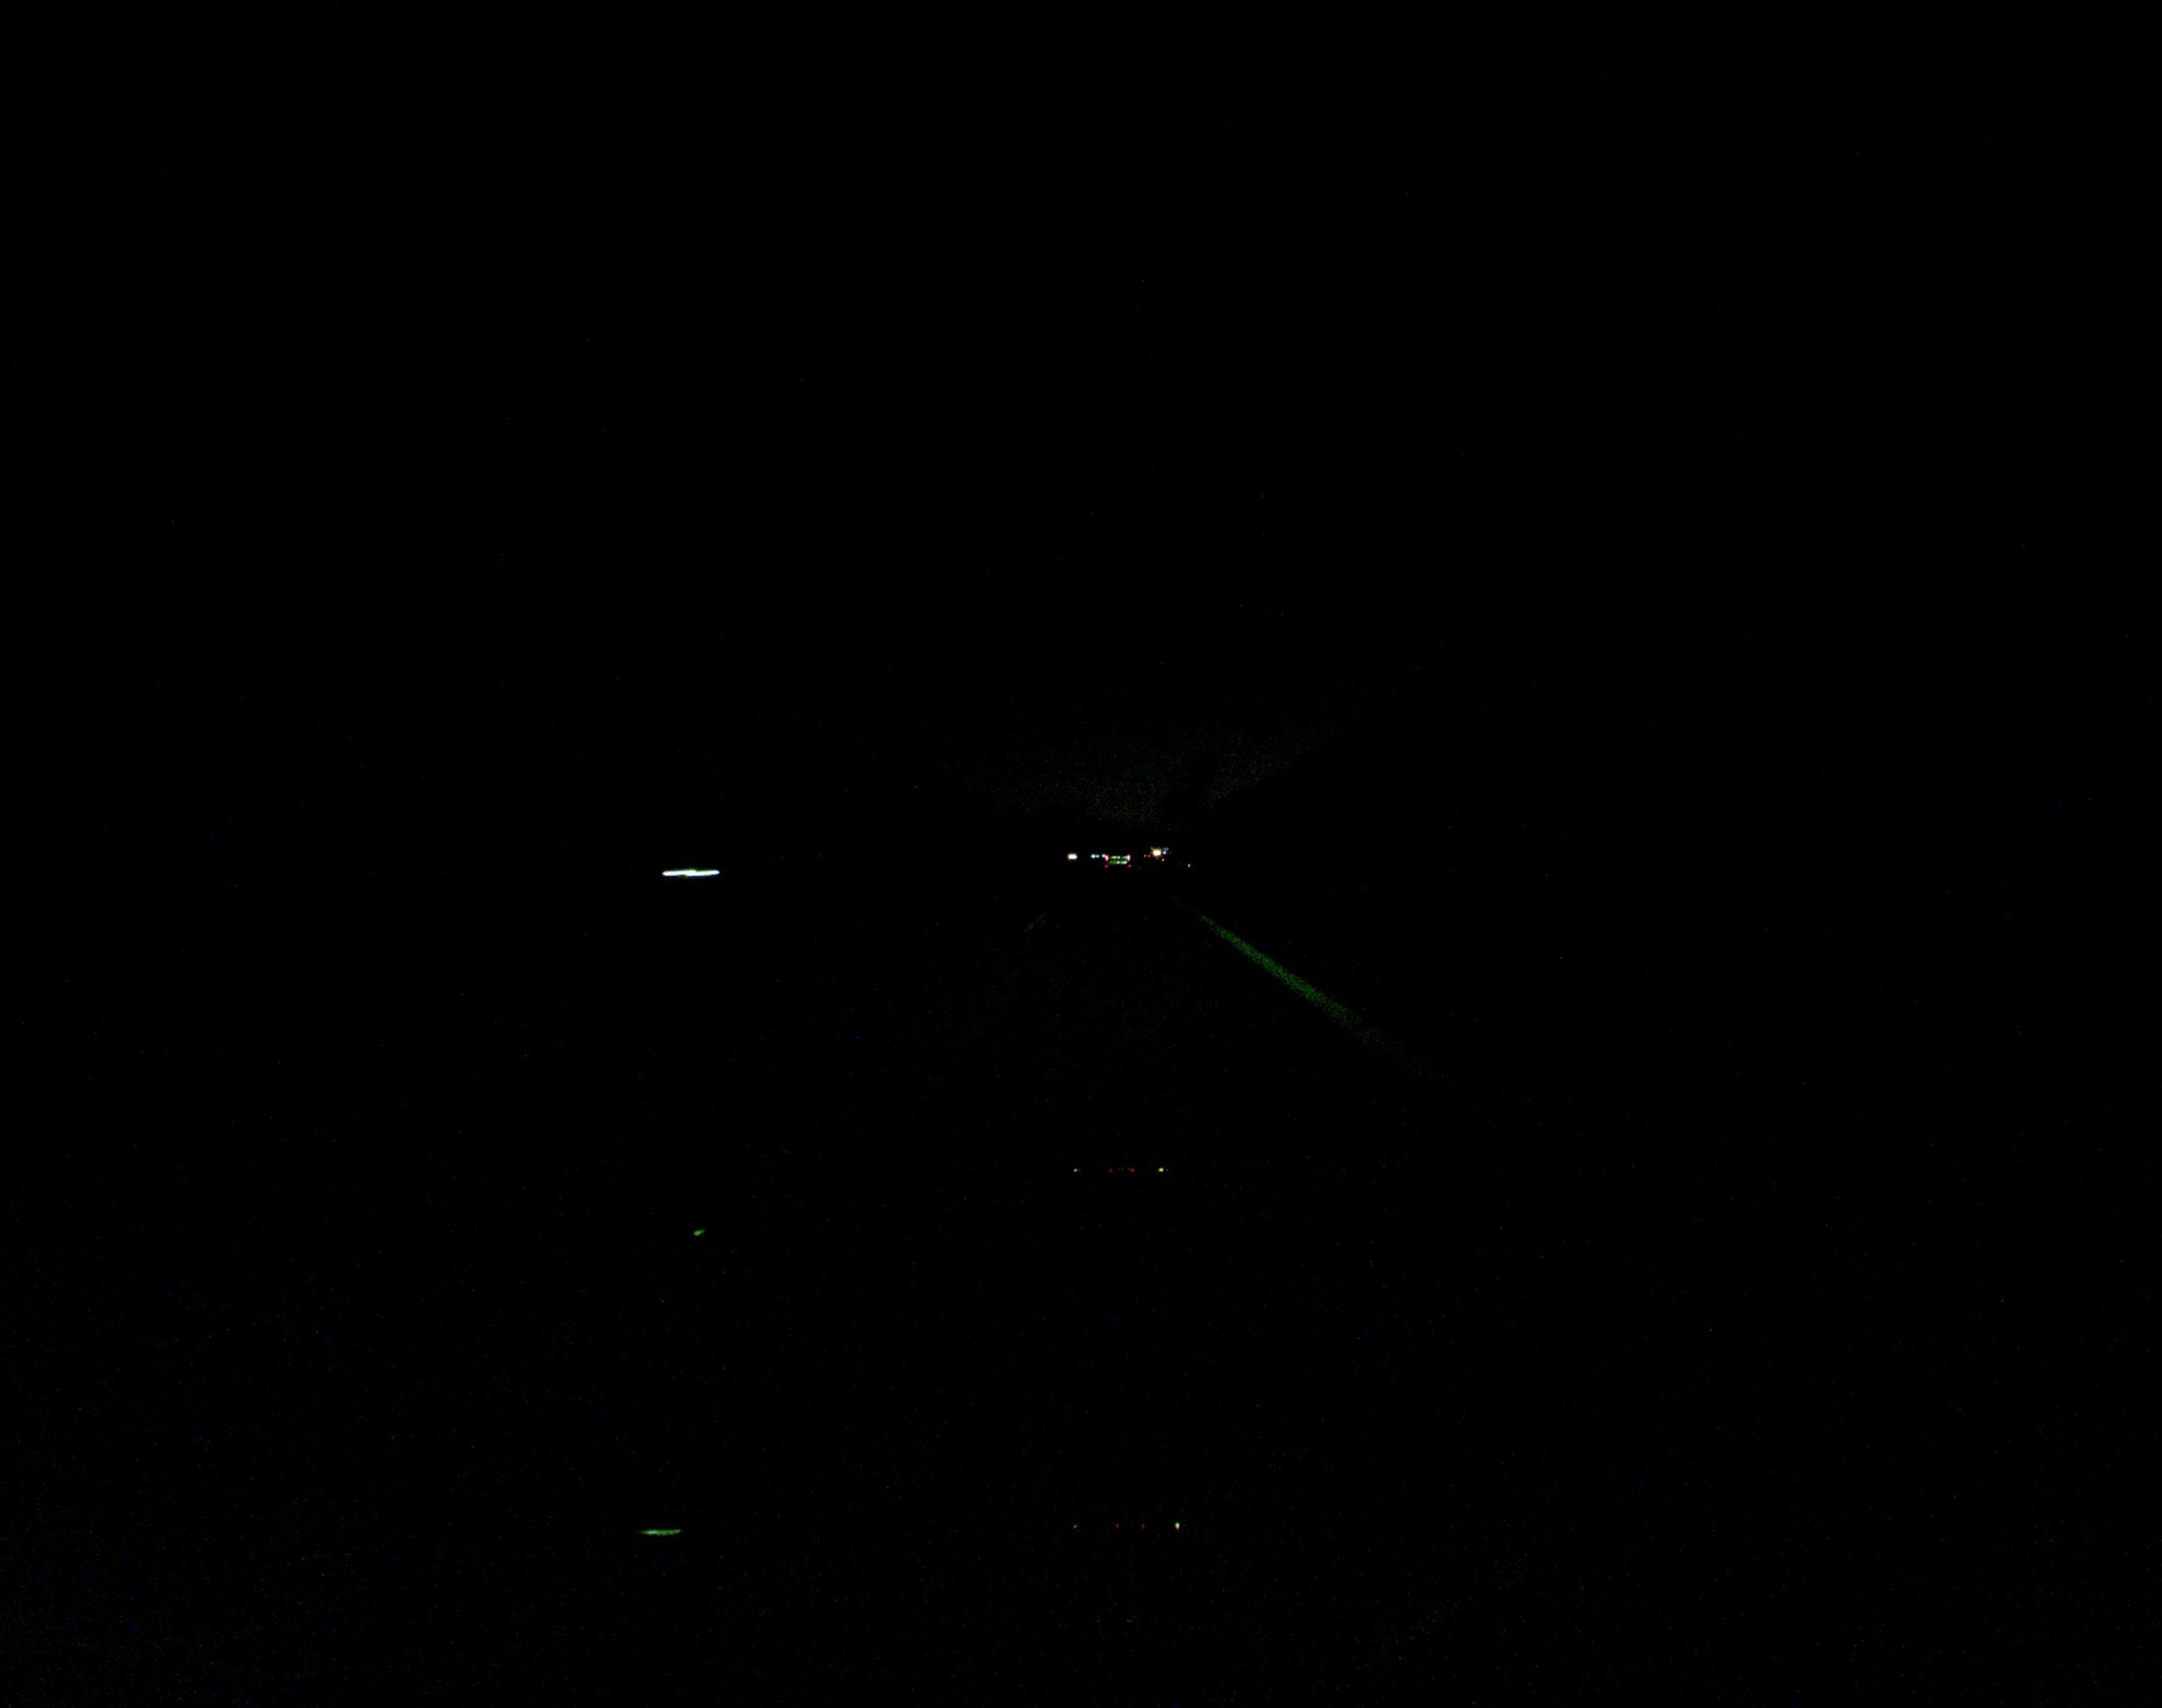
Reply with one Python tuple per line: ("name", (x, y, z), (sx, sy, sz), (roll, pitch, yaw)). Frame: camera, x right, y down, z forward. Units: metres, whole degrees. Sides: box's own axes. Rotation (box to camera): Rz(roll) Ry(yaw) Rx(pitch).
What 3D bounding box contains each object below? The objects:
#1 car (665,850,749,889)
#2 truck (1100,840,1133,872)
("car", (-20.706, 0.825, 45.374), (2.018, 2.014, 5.191), (-1, -1, 3))
("truck", (3.026, 0.185, 70.739), (2.621, 2.624, 8.685), (-1, -1, 1))
